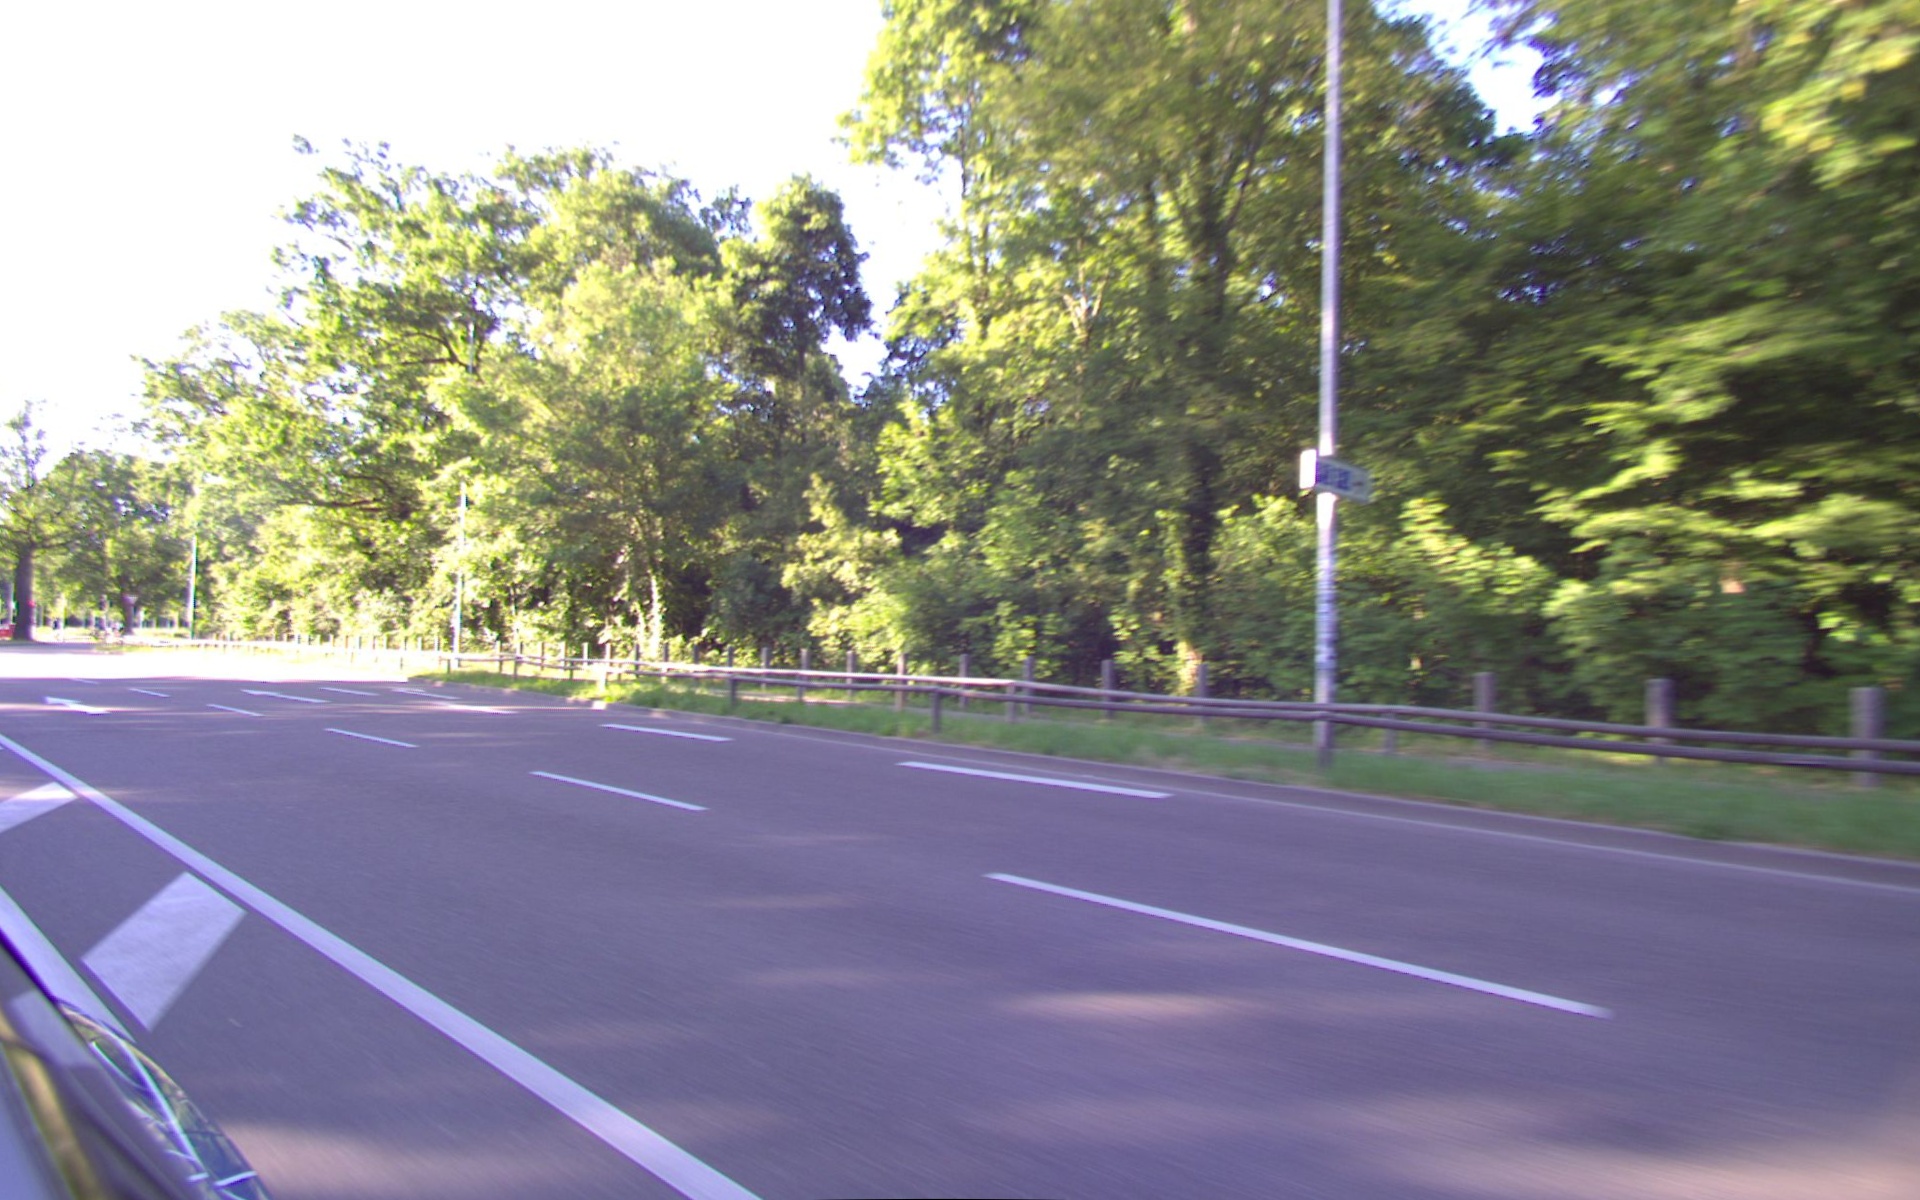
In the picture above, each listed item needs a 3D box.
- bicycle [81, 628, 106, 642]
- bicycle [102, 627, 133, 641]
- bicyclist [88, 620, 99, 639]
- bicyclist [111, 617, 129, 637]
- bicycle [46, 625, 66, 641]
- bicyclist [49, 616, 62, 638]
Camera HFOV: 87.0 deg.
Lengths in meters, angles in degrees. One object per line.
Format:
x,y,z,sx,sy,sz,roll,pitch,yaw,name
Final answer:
-62.505,2.531,73.012,0.522,0.984,1.338,-1,-1,38,bicycle
-63.217,2.548,75.957,1.564,0.984,0.787,0,-1,-14,bicycle
-62.506,2.127,73.025,0.518,1.411,0.522,-1,-1,39,bicyclist
-63.082,2.052,76.003,0.787,1.494,0.732,0,-1,-14,bicyclist
-66.836,2.450,74.857,0.670,1.163,1.990,0,-2,-29,bicycle
-66.727,2.007,74.664,0.554,1.563,0.802,0,-3,-29,bicyclist
